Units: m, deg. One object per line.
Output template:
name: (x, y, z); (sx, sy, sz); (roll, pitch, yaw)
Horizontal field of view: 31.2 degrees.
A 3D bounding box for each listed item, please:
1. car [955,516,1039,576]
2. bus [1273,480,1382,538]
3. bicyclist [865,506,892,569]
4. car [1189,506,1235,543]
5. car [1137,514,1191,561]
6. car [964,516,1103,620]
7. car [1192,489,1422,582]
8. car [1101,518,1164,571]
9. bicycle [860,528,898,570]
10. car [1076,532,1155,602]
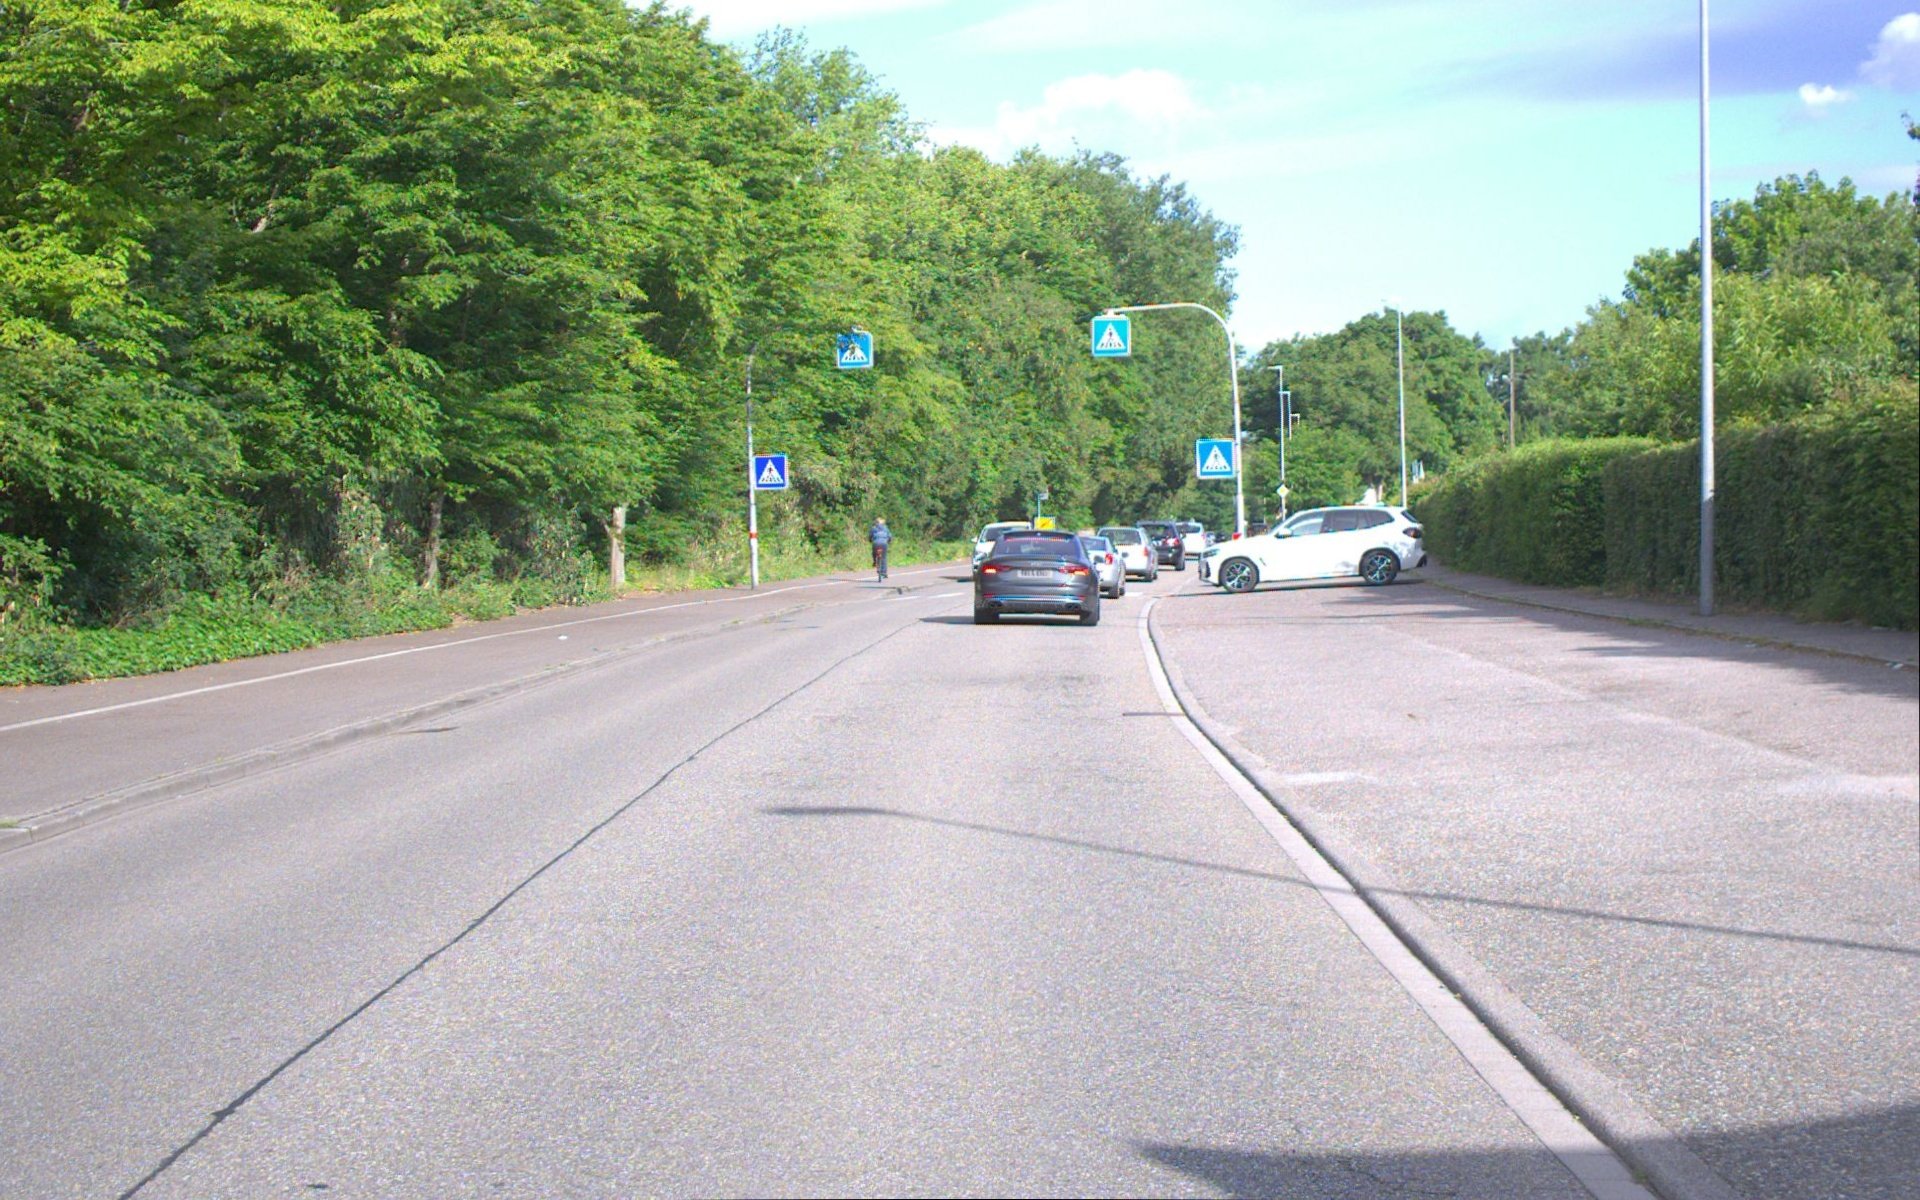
car: (1.065, -1.521, 96.831); (1.802, 1.580, 4.101); (-2, 1, 8)
bus: (18.810, -4.673, 176.091); (5.366, 2.737, 2.068); (-2, 2, 4)
bicyclist: (-2.162, -1.658, 91.487); (0.609, 1.671, 0.883); (0, 1, 7)
car: (9.748, -2.914, 132.827); (1.495, 1.361, 3.261); (-1, 2, 9)
car: (6.412, -1.971, 107.838); (1.495, 1.361, 3.261); (-1, 2, 6)
car: (1.116, -0.512, 51.685); (1.966, 1.429, 4.336); (-2, 2, 2)
car: (7.138, -1.329, 70.767); (4.589, 1.693, 1.763); (-2, 1, 7)
car: (4.493, -1.457, 89.305); (1.495, 1.300, 3.262); (-2, 2, 5)
bicycle: (-2.156, -1.360, 91.529); (0.662, 1.093, 2.348); (1, 2, 7)
car: (3.284, -0.705, 72.073); (1.495, 1.361, 3.262); (-2, 2, 5)
